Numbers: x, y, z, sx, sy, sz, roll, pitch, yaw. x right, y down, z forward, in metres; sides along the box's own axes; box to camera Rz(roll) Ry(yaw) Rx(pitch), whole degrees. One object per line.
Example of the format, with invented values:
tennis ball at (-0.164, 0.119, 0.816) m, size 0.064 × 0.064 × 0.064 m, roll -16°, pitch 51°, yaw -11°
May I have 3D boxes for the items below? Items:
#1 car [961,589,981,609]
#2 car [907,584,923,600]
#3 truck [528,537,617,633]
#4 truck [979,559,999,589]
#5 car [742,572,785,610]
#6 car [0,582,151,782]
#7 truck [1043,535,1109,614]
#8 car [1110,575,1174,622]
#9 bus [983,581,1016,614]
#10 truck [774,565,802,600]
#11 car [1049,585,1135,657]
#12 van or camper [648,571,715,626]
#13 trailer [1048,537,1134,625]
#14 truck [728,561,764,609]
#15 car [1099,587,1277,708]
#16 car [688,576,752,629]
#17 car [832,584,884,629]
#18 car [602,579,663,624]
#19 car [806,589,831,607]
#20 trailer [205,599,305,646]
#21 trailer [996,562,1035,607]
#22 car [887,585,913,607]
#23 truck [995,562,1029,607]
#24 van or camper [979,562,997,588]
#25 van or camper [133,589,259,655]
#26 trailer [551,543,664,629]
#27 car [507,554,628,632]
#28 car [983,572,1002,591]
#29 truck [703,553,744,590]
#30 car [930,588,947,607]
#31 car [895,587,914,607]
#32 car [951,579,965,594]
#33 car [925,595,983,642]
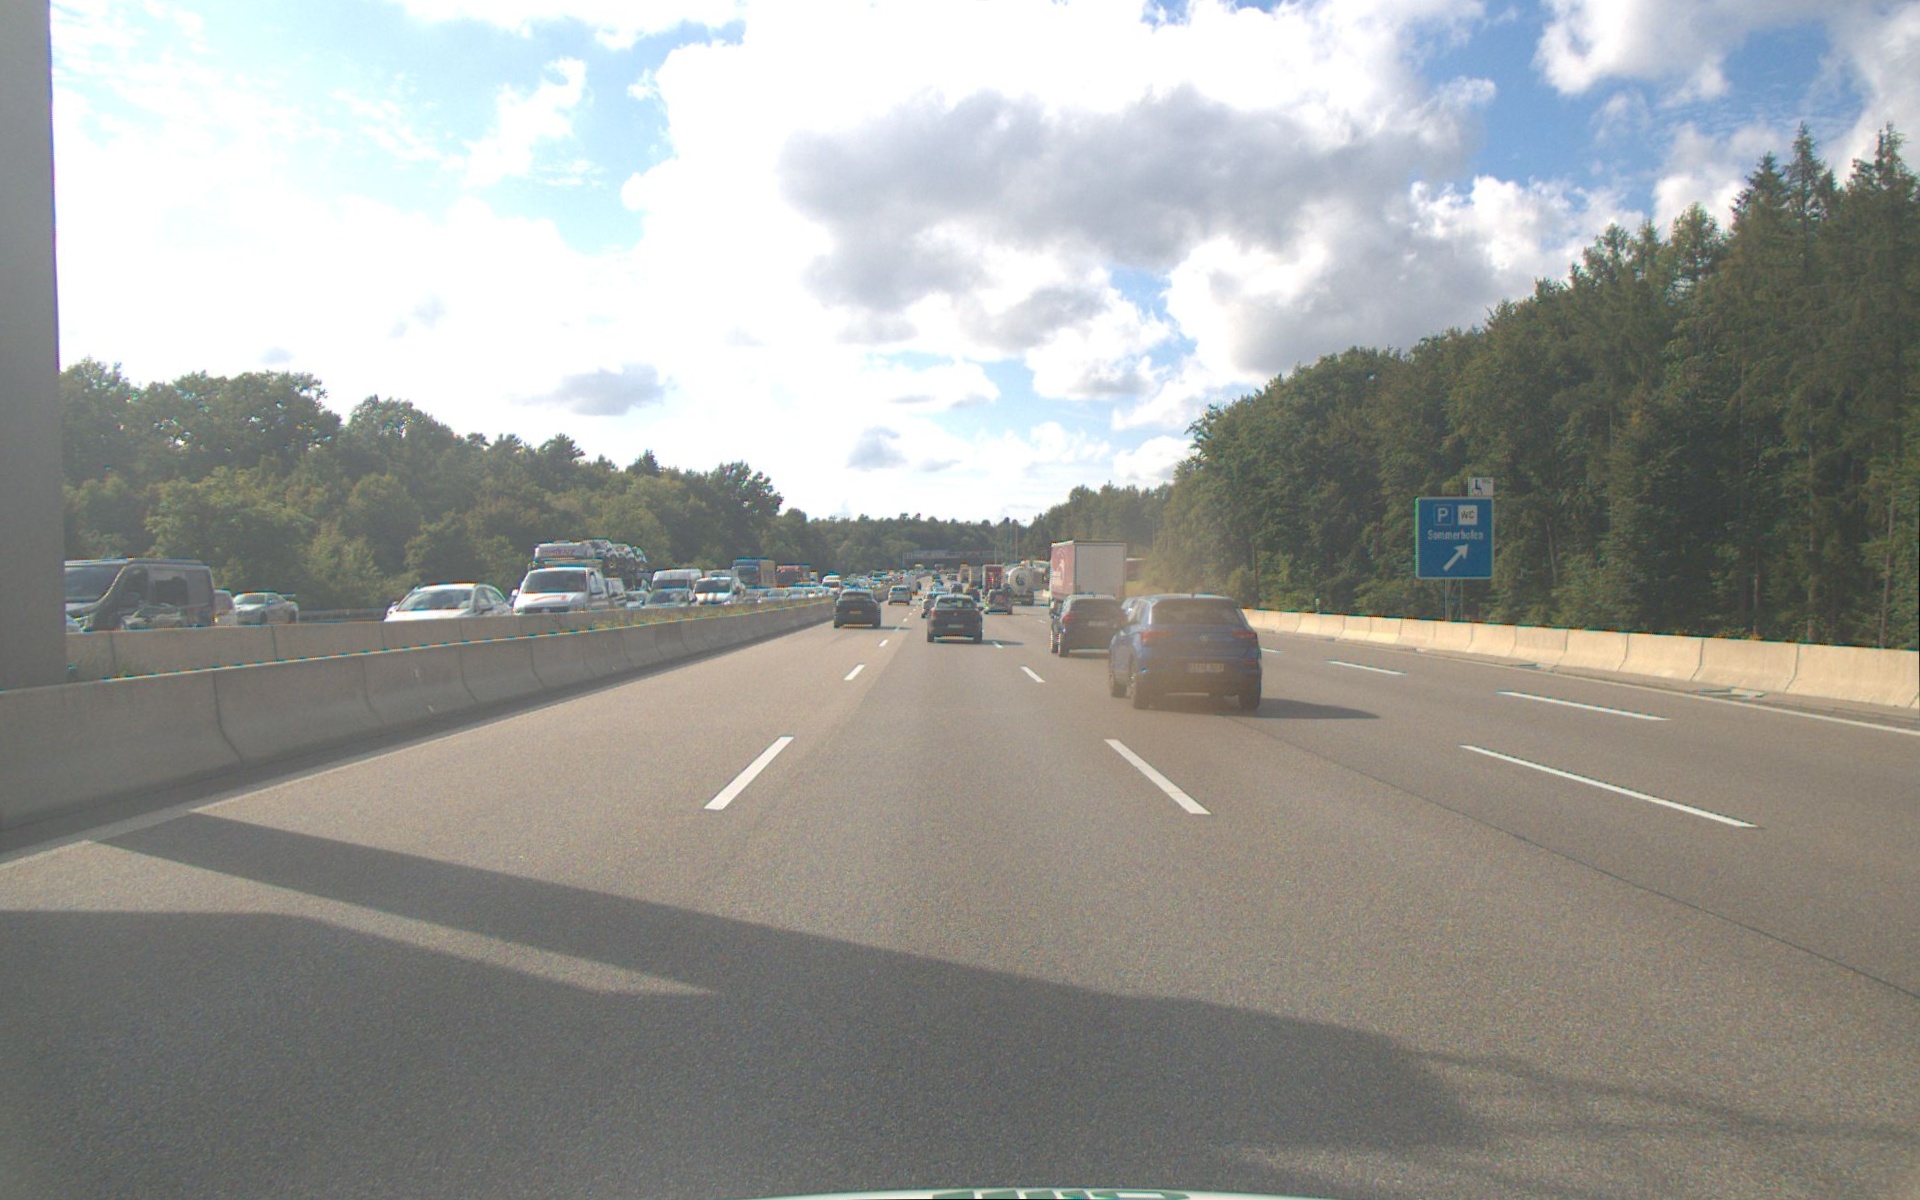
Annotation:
car at (1.102, -0.136, 173.023) m, size 1.953 × 2.049 × 3.999 m, roll 1°, pitch 0°, yaw -1°
car at (-5.983, -1.054, 219.418) m, size 1.953 × 2.049 × 3.999 m, roll 1°, pitch 0°, yaw -1°
truck at (-18.051, -0.693, 77.410) m, size 2.795 × 4.308 × 5.712 m, roll 1°, pitch 0°, yaw -1°
truck at (3.736, -3.311, 215.466) m, size 2.310 × 3.635 × 11.265 m, roll 1°, pitch -1°, yaw 0°
car at (-11.078, -0.479, 93.651) m, size 1.953 × 2.049 × 4.409 m, roll 0°, pitch -1°, yaw -1°
car at (-9.676, 0.743, 15.563) m, size 1.731 × 1.830 × 4.937 m, roll 1°, pitch 0°, yaw -1°
truck at (6.343, -1.334, 91.135) m, size 3.018 × 4.135 × 6.068 m, roll 1°, pitch -1°, yaw -1°
car at (6.175, -0.042, 56.541) m, size 1.680 × 1.537 × 4.301 m, roll 0°, pitch 0°, yaw 0°
bus at (2.540, -0.158, 106.513) m, size 1.953 × 2.049 × 3.999 m, roll 1°, pitch -1°, yaw -1°
truck at (-20.358, -2.129, 195.916) m, size 2.720 × 4.007 × 6.851 m, roll 1°, pitch 1°, yaw -2°
car at (3.272, 0.497, 41.583) m, size 1.763 × 1.673 × 3.999 m, roll 1°, pitch 0°, yaw -1°
van or camper at (-14.479, -0.037, 86.442) m, size 2.342 × 2.758 × 6.630 m, roll 1°, pitch -1°, yaw 0°
trailer at (6.481, -0.811, 84.280) m, size 2.977 × 4.106 × 13.886 m, roll 1°, pitch -1°, yaw -1°
truck at (-19.339, -1.338, 149.645) m, size 2.681 × 4.221 × 5.614 m, roll 1°, pitch -1°, yaw -2°
car at (3.193, 0.652, 24.018) m, size 1.885 × 1.568 × 4.644 m, roll 1°, pitch -1°, yaw -1°
car at (-10.171, 0.149, 70.452) m, size 1.953 × 2.137 × 5.277 m, roll 1°, pitch -1°, yaw 0°
car at (-4.254, 0.265, 69.348) m, size 1.953 × 1.807 × 3.999 m, roll 1°, pitch 0°, yaw -1°
car at (-14.549, 0.064, 73.756) m, size 1.872 × 1.908 × 4.696 m, roll 0°, pitch 0°, yaw -1°
car at (-11.257, -0.150, 131.830) m, size 1.721 × 1.401 × 3.999 m, roll 0°, pitch 0°, yaw -2°
trailer at (-25.383, 0.797, 59.720) m, size 1.789 × 1.606 × 4.348 m, roll 1°, pitch -1°, yaw -1°
trailer at (5.168, -1.396, 155.344) m, size 2.975 × 4.086 × 12.241 m, roll 0°, pitch 0°, yaw -1°
car at (-5.241, -0.347, 145.561) m, size 2.111 × 1.807 × 3.999 m, roll 1°, pitch 0°, yaw -1°
truck at (5.042, -1.463, 160.893) m, size 2.984 × 4.233 × 7.125 m, roll 0°, pitch 0°, yaw -1°
van or camper at (3.783, -3.345, 222.516) m, size 2.303 × 3.199 × 5.710 m, roll 1°, pitch -1°, yaw 0°
van or camper at (-25.310, 0.720, 54.998) m, size 1.822 × 2.069 × 5.074 m, roll 1°, pitch -1°, yaw -1°
trailer at (-18.277, -0.573, 87.072) m, size 2.773 × 4.044 × 16.000 m, roll 1°, pitch -1°, yaw -1°
car at (-9.699, -0.171, 41.207) m, size 2.044 × 1.833 × 4.178 m, roll 1°, pitch 0°, yaw -1°
car at (3.711, -2.140, 189.165) m, size 1.953 × 2.049 × 3.999 m, roll 1°, pitch -1°, yaw -1°
truck at (-19.217, -2.299, 134.954) m, size 2.281 × 2.850 × 7.947 m, roll 2°, pitch 0°, yaw -1°
car at (-2.439, -0.250, 187.425) m, size 1.953 × 2.049 × 3.999 m, roll -1°, pitch -1°, yaw -1°
car at (-6.093, -0.336, 180.971) m, size 1.953 × 2.049 × 3.999 m, roll 1°, pitch 0°, yaw -1°
car at (-0.340, -2.022, 247.341) m, size 1.953 × 2.049 × 3.999 m, roll 1°, pitch 0°, yaw -1°
car at (-0.223, 0.552, 52.088) m, size 1.699 × 1.389 × 3.999 m, roll 1°, pitch 0°, yaw -1°
